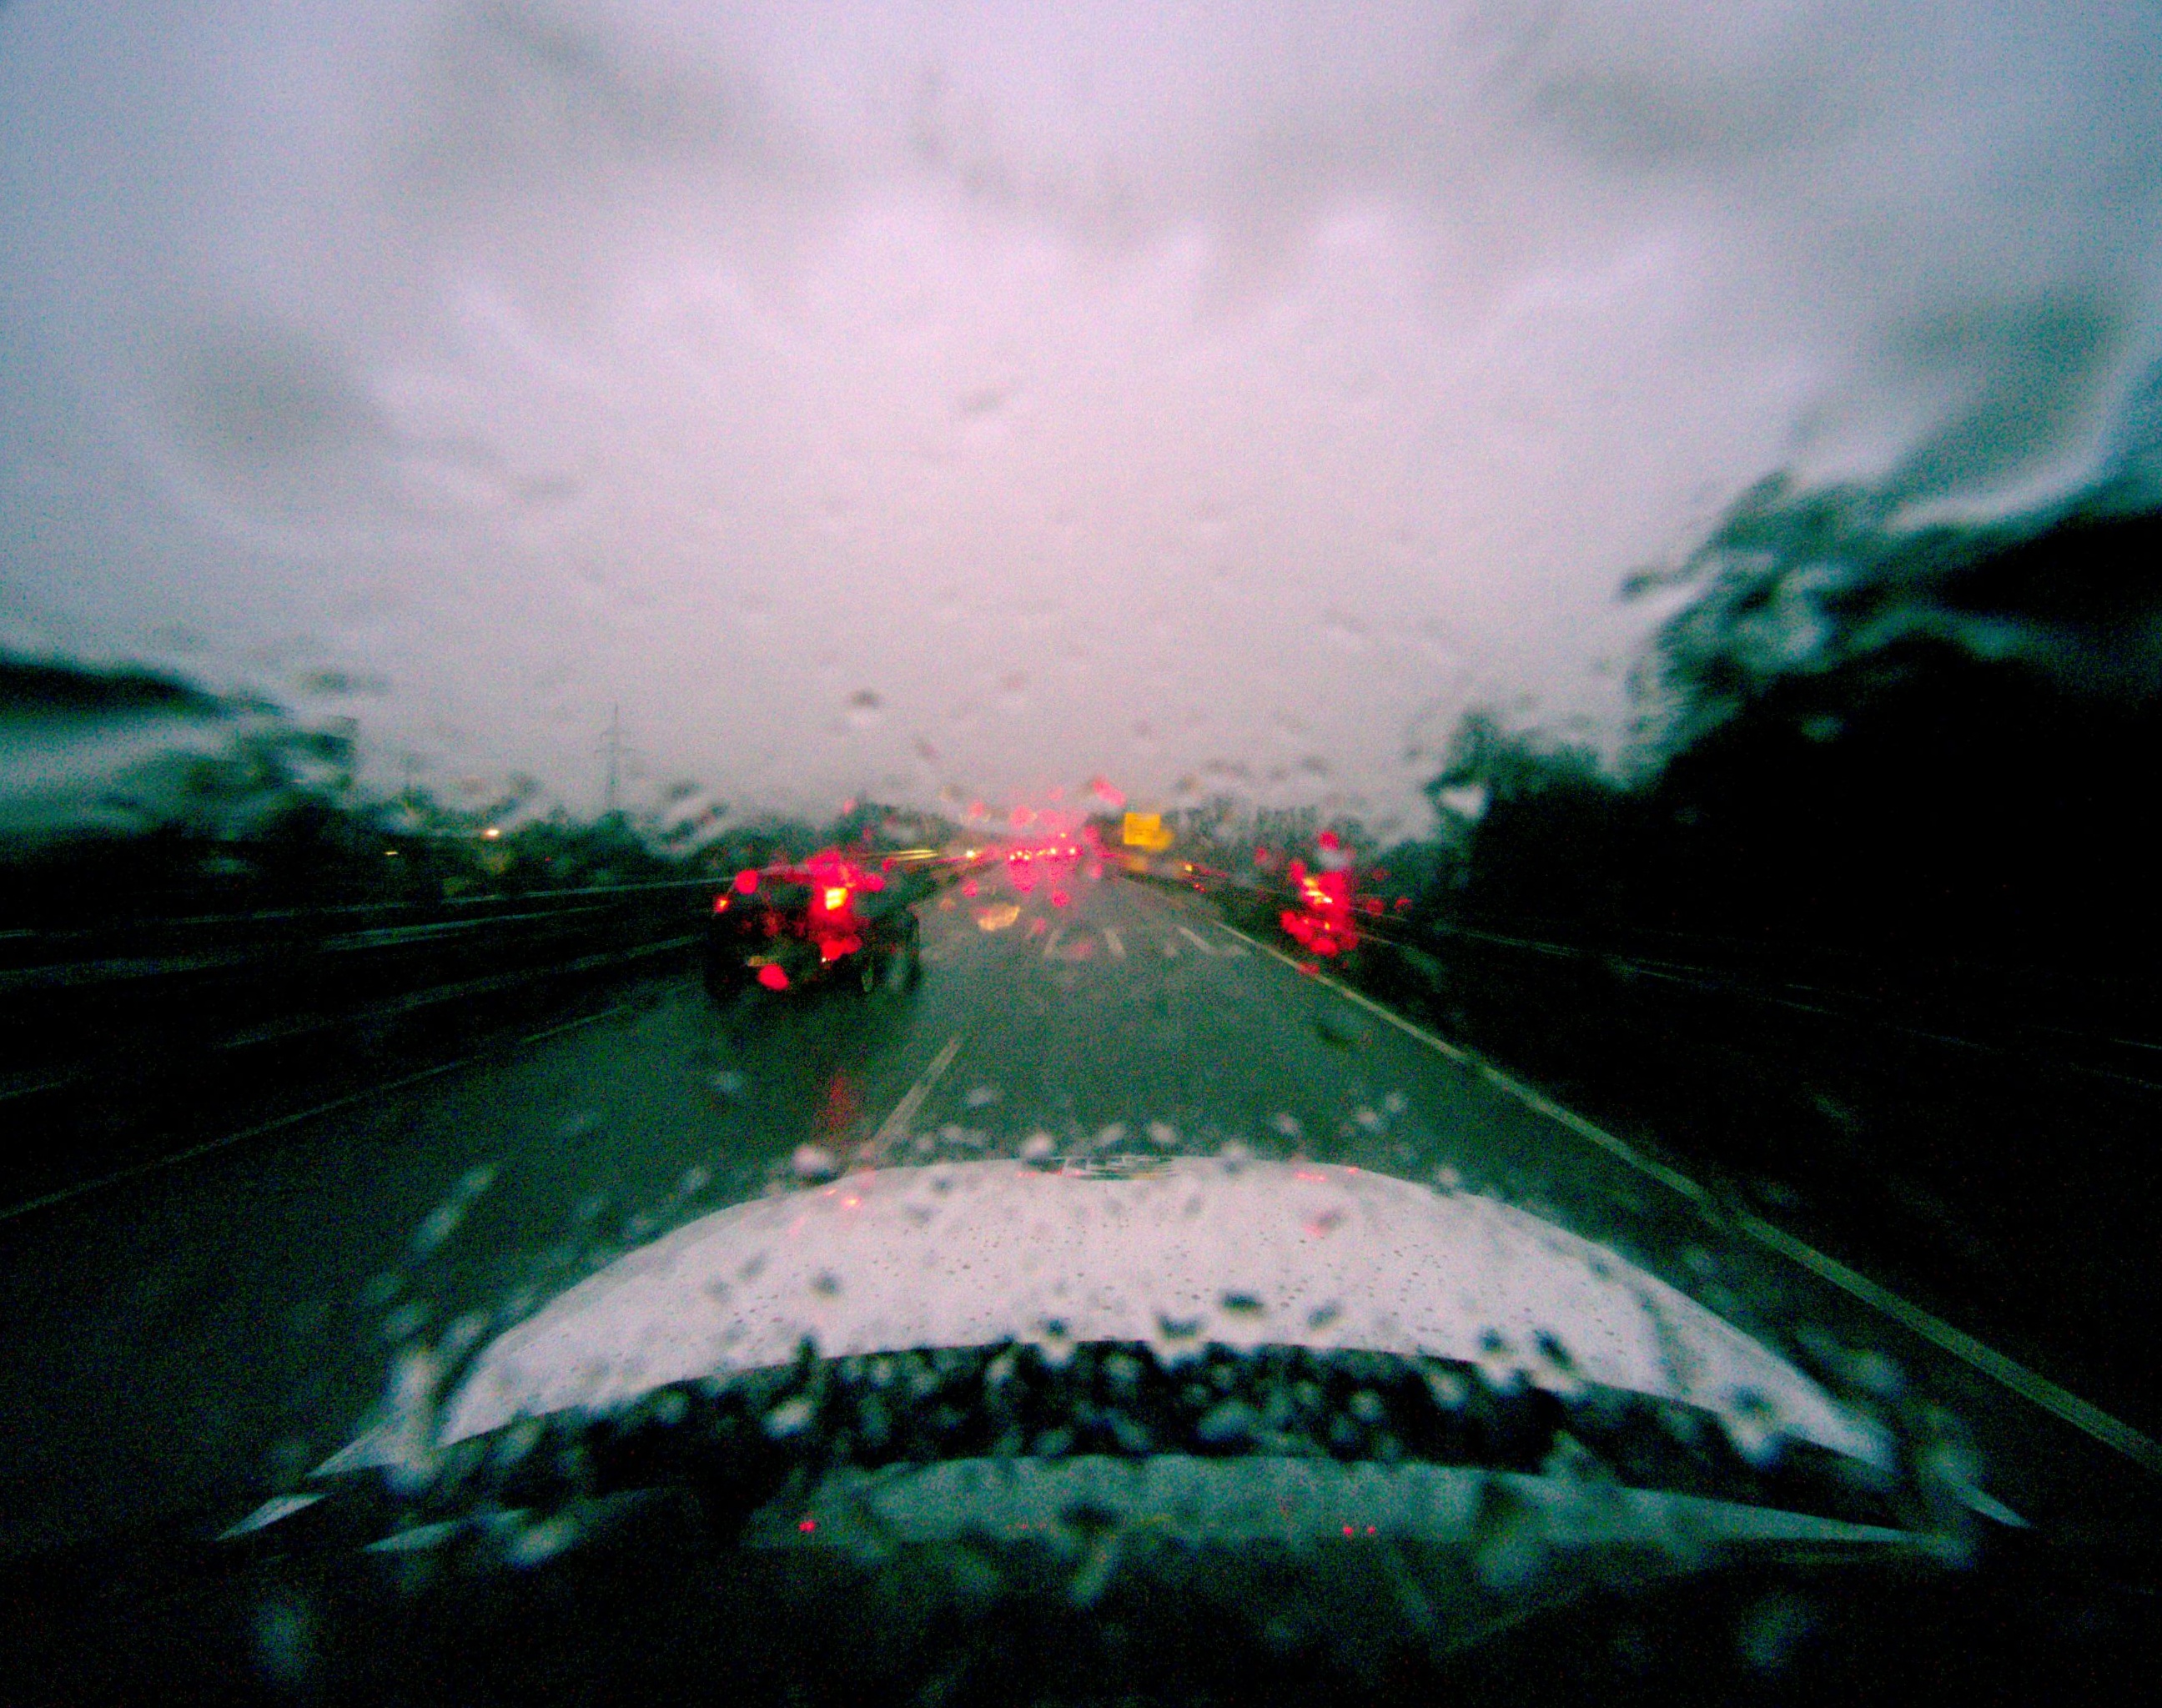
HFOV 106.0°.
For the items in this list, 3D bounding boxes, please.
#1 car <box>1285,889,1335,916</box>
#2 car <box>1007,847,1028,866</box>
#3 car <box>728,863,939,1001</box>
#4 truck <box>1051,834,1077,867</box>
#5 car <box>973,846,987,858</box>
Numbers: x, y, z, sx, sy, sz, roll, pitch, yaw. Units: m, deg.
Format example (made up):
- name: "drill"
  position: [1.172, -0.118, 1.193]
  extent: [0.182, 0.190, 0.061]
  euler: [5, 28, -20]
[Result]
- name: "car"
  position: [13.995, 2.959, 50.039]
  extent: [1.672, 1.281, 3.995]
  euler: [6, -1, -3]
- name: "car"
  position: [-5.898, 0.238, 75.921]
  extent: [1.831, 1.538, 3.994]
  euler: [1, -3, -3]
- name: "car"
  position: [-2.949, 0.839, 10.588]
  extent: [1.621, 1.392, 3.997]
  euler: [-1, 0, -2]
- name: "truck"
  position: [-1.689, -0.261, 78.253]
  extent: [2.377, 2.909, 4.667]
  euler: [0, -3, -3]
- name: "car"
  position: [-13.275, -0.251, 106.894]
  extent: [1.678, 1.406, 4.492]
  euler: [-1, -1, -9]
